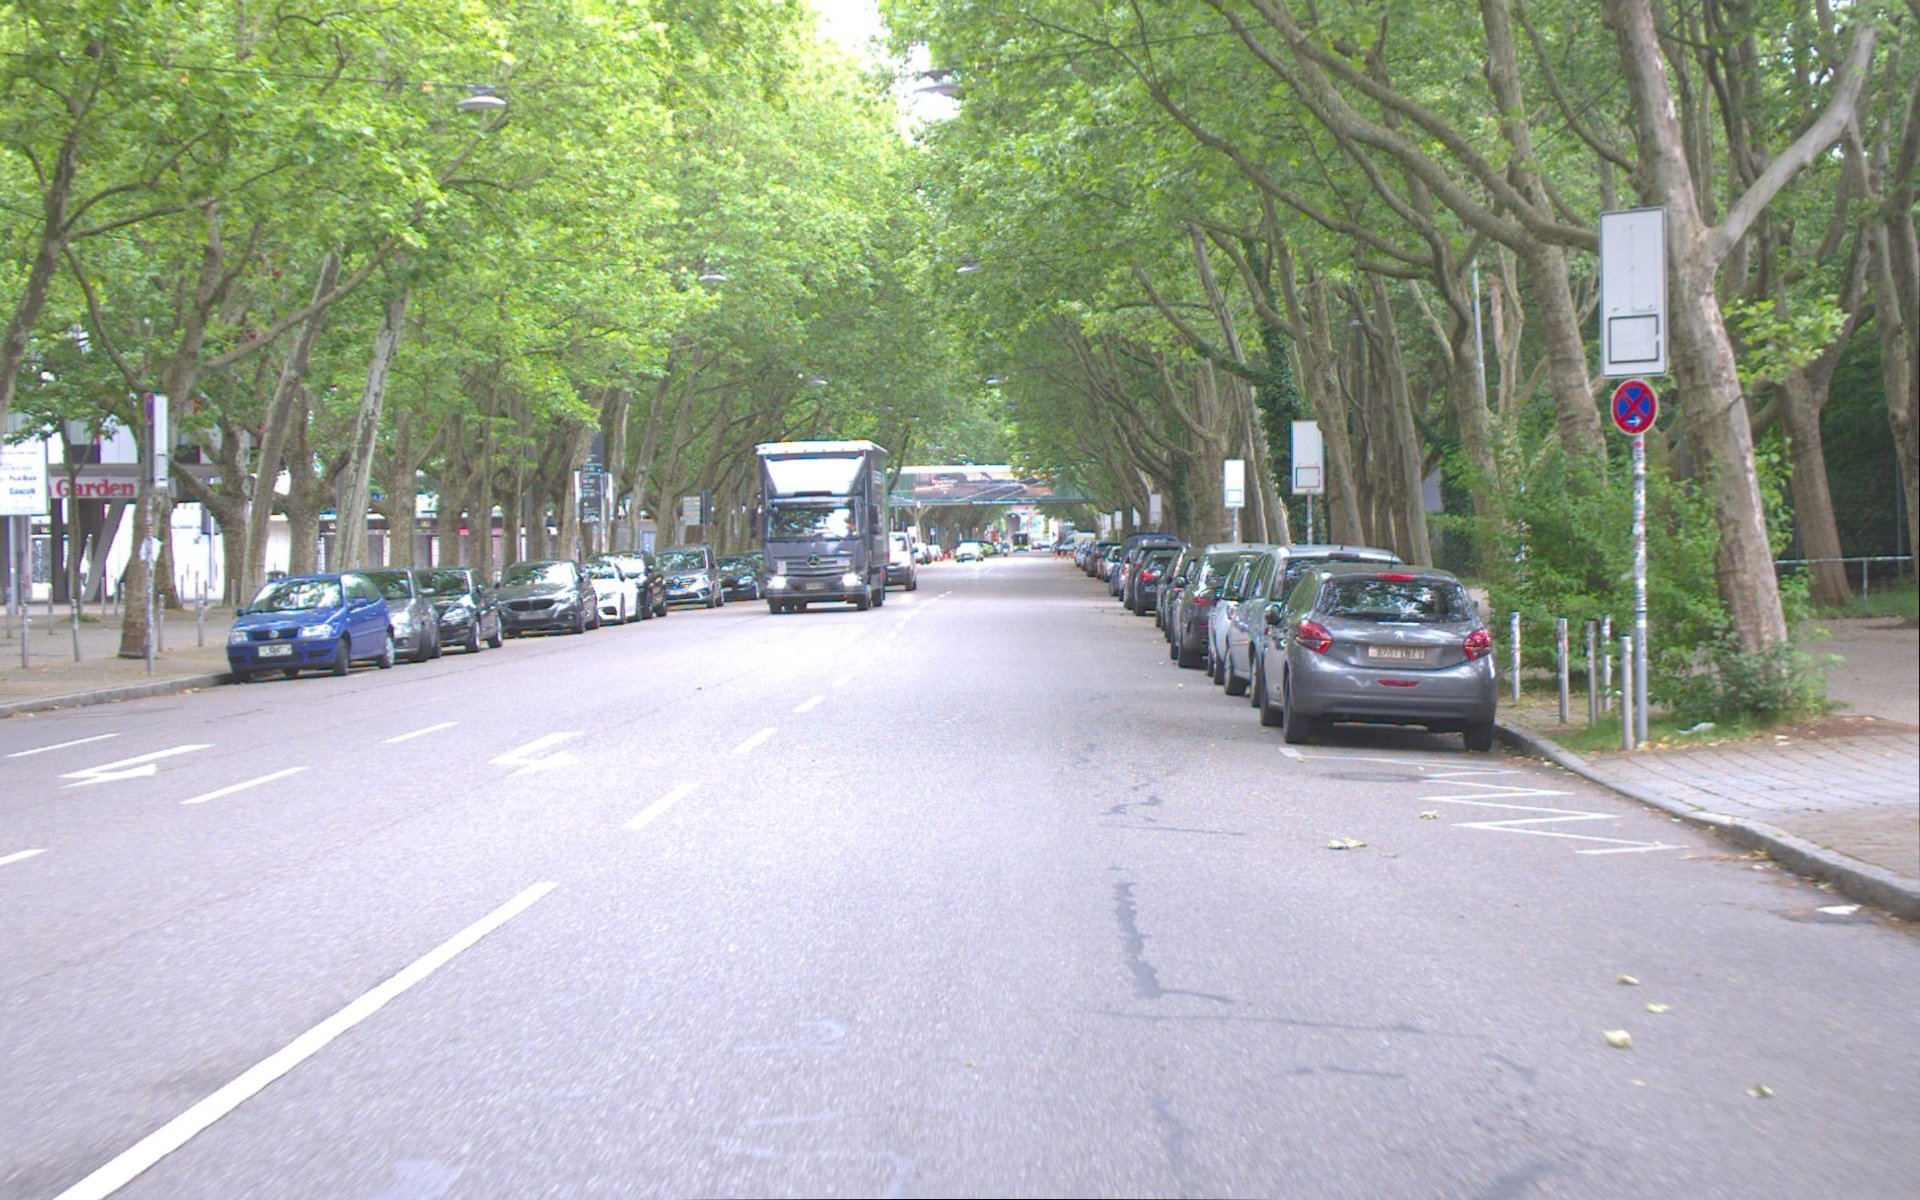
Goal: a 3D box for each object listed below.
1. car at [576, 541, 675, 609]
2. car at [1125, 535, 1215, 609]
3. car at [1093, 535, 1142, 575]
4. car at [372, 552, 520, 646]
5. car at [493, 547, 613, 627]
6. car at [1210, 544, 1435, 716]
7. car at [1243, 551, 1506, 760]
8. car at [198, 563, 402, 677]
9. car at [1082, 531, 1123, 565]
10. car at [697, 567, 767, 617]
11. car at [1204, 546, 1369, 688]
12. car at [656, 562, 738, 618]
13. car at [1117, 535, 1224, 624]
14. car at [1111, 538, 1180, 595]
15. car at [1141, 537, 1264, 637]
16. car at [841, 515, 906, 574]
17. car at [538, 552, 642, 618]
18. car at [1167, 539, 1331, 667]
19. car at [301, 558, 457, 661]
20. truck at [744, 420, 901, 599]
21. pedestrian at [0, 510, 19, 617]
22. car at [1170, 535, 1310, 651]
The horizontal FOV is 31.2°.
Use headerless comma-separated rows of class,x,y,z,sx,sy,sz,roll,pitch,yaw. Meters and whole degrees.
car,-7.765,-0.563,80.029,1.895,1.433,4.000,-2,-1,0
car,4.580,-0.619,75.488,1.756,1.529,3.929,2,1,1
car,6.245,-1.798,136.635,1.756,1.529,3.929,-2,1,1
car,-8.525,-0.015,57.263,1.765,1.414,3.761,-3,0,1
car,-7.917,-0.253,67.174,1.765,1.414,3.761,-3,0,1
car,3.617,0.254,34.908,1.719,1.562,4.094,3,1,-1
car,3.428,0.405,29.153,1.699,1.514,4.454,3,1,1
car,-9.057,0.259,47.480,1.695,1.414,3.761,-3,0,6
car,6.538,-2.391,158.308,1.756,1.529,3.929,2,1,1
car,-7.065,-0.240,106.965,1.895,1.433,4.000,-2,-1,0
car,3.746,0.166,39.930,1.675,1.485,3.686,3,1,3
car,-7.196,-0.254,94.375,1.895,1.433,4.000,-2,-1,0
car,3.853,-0.395,63.504,1.756,1.529,3.929,2,1,1
car,5.111,-0.934,95.024,1.756,1.529,3.929,0,1,1
car,3.932,-0.232,56.263,1.756,1.529,3.929,2,1,1
car,-2.832,-1.839,113.440,1.980,1.927,4.113,0,1,1
car,-7.974,-0.308,74.320,1.732,1.327,4.000,-2,-1,1
car,3.695,0.006,44.632,1.756,1.485,4.417,3,1,1
car,-8.818,0.142,52.423,1.765,1.414,3.761,-3,0,-2
truck,-3.144,-2.089,81.416,2.641,3.888,9.539,-2,1,4
pedestrian,-16.787,-0.633,59.414,0.770,1.828,0.879,-1,1,-33
car,4.068,-0.127,50.390,1.756,1.591,3.929,2,1,1
